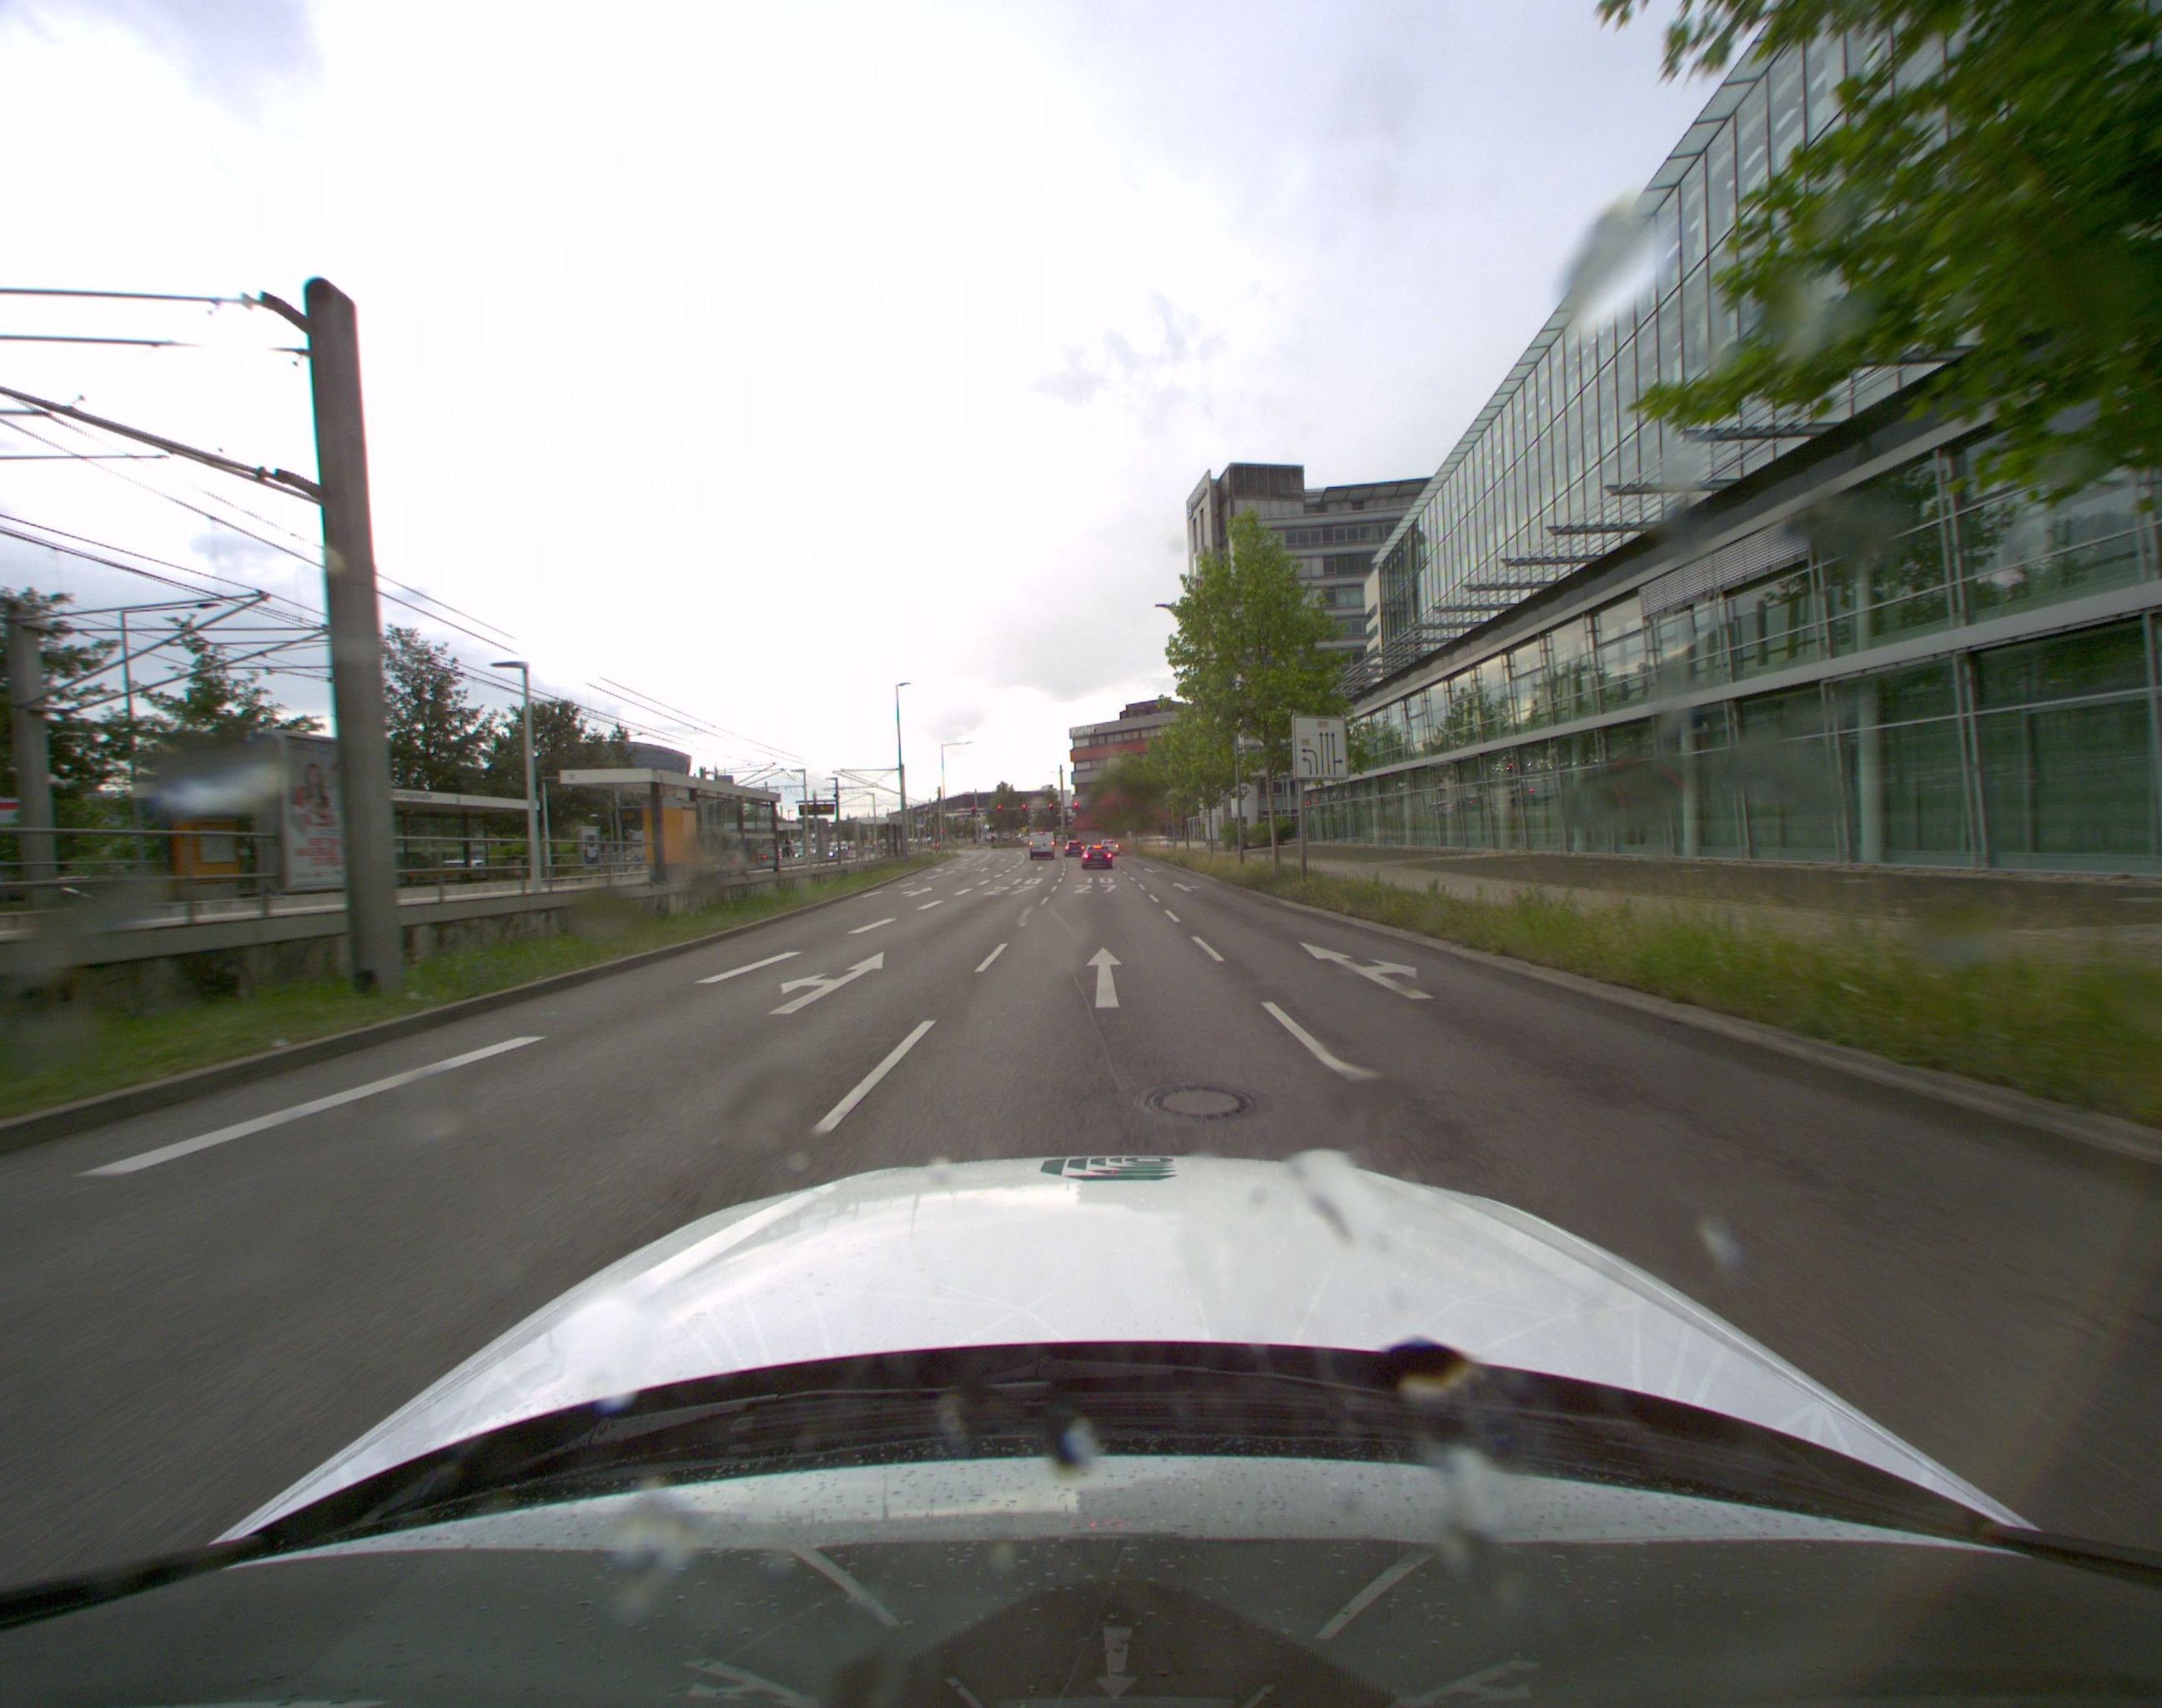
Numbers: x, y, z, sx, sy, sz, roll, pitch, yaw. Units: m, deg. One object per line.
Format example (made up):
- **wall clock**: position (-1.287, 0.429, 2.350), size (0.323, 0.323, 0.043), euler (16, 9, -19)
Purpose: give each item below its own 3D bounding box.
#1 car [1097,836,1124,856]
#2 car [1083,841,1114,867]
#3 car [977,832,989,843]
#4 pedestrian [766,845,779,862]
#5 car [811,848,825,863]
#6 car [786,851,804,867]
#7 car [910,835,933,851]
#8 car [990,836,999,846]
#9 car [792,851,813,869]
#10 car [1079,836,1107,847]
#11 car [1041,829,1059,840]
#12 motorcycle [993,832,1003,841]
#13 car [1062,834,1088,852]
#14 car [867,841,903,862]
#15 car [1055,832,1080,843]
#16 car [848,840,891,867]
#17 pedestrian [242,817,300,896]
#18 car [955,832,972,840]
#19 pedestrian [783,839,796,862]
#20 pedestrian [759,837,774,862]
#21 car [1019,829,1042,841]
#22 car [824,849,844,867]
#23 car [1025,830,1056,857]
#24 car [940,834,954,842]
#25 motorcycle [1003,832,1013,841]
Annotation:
- **car**: position (2.689, -0.776, 75.455), size (2.017, 1.769, 3.995), euler (-1, 1, -4)
- **car**: position (1.126, -0.024, 49.583), size (1.757, 1.463, 4.630), euler (-1, 1, 2)
- **car**: position (-20.629, -3.477, 170.795), size (1.997, 2.014, 3.979), euler (-1, -2, -15)
- **pedestrian**: position (-22.909, -0.010, 60.423), size (0.726, 1.253, 0.730), euler (-1, -1, -6)
- **car**: position (-39.558, 0.216, 122.490), size (1.804, 2.014, 3.645), euler (-1, -4, -14)
- **car**: position (-40.889, 0.724, 116.322), size (1.996, 2.014, 3.980), euler (-1, -4, -14)
- **car**: position (-18.416, -1.287, 94.192), size (1.990, 1.809, 3.842), euler (1, 0, -4)
- **car**: position (-19.854, -3.030, 186.880), size (1.817, 2.014, 3.459), euler (-1, -2, -9)
- **car**: position (-35.423, 0.751, 103.578), size (1.995, 2.014, 3.983), euler (-1, -4, -11)
- **car**: position (1.877, -2.050, 129.692), size (2.040, 1.623, 4.272), euler (-1, 0, -45)
- **car**: position (-6.417, -3.919, 166.828), size (2.005, 2.014, 3.962), euler (-1, -2, -29)
- **motorcycle**: position (-21.358, -4.443, 210.135), size (1.997, 2.014, 3.979), euler (-1, -2, -14)
- **car**: position (-0.610, -1.002, 75.586), size (2.018, 1.623, 3.992), euler (-1, 0, -6)
- **car**: position (-14.576, -0.189, 60.683), size (1.990, 1.453, 3.841), euler (-1, -1, -4)
- **car**: position (-2.211, -2.719, 134.306), size (2.040, 1.623, 3.950), euler (-1, 0, -45)
- **car**: position (-13.872, -0.060, 53.653), size (1.990, 1.452, 3.843), euler (-1, 4, -4)
- **pedestrian**: position (-19.537, 0.079, 19.662), size (0.636, 1.854, 0.749), euler (-1, -2, -5)
- **car**: position (-31.157, -4.719, 216.385), size (4.002, 2.014, 1.986), euler (-1, -2, -21)
- **pedestrian**: position (-22.331, -0.274, 62.398), size (0.751, 1.751, 0.763), euler (-1, -2, -4)
- **pedestrian**: position (-22.095, -0.284, 57.183), size (0.727, 1.715, 0.830), euler (-1, -1, -3)
- **car**: position (-8.970, -3.324, 143.618), size (2.011, 2.014, 3.950), euler (0, 0, -45)
- **car**: position (-31.137, 0.555, 102.579), size (1.995, 2.014, 3.983), euler (-1, -4, -11)
- **car**: position (-3.424, -0.879, 69.443), size (2.505, 2.177, 5.145), euler (-1, 1, -2)
- **car**: position (-40.775, -4.862, 247.836), size (4.002, 2.014, 1.986), euler (-1, -2, -21)
- **motorcycle**: position (-18.989, -4.526, 210.756), size (1.997, 2.014, 3.979), euler (-1, -2, -14)
